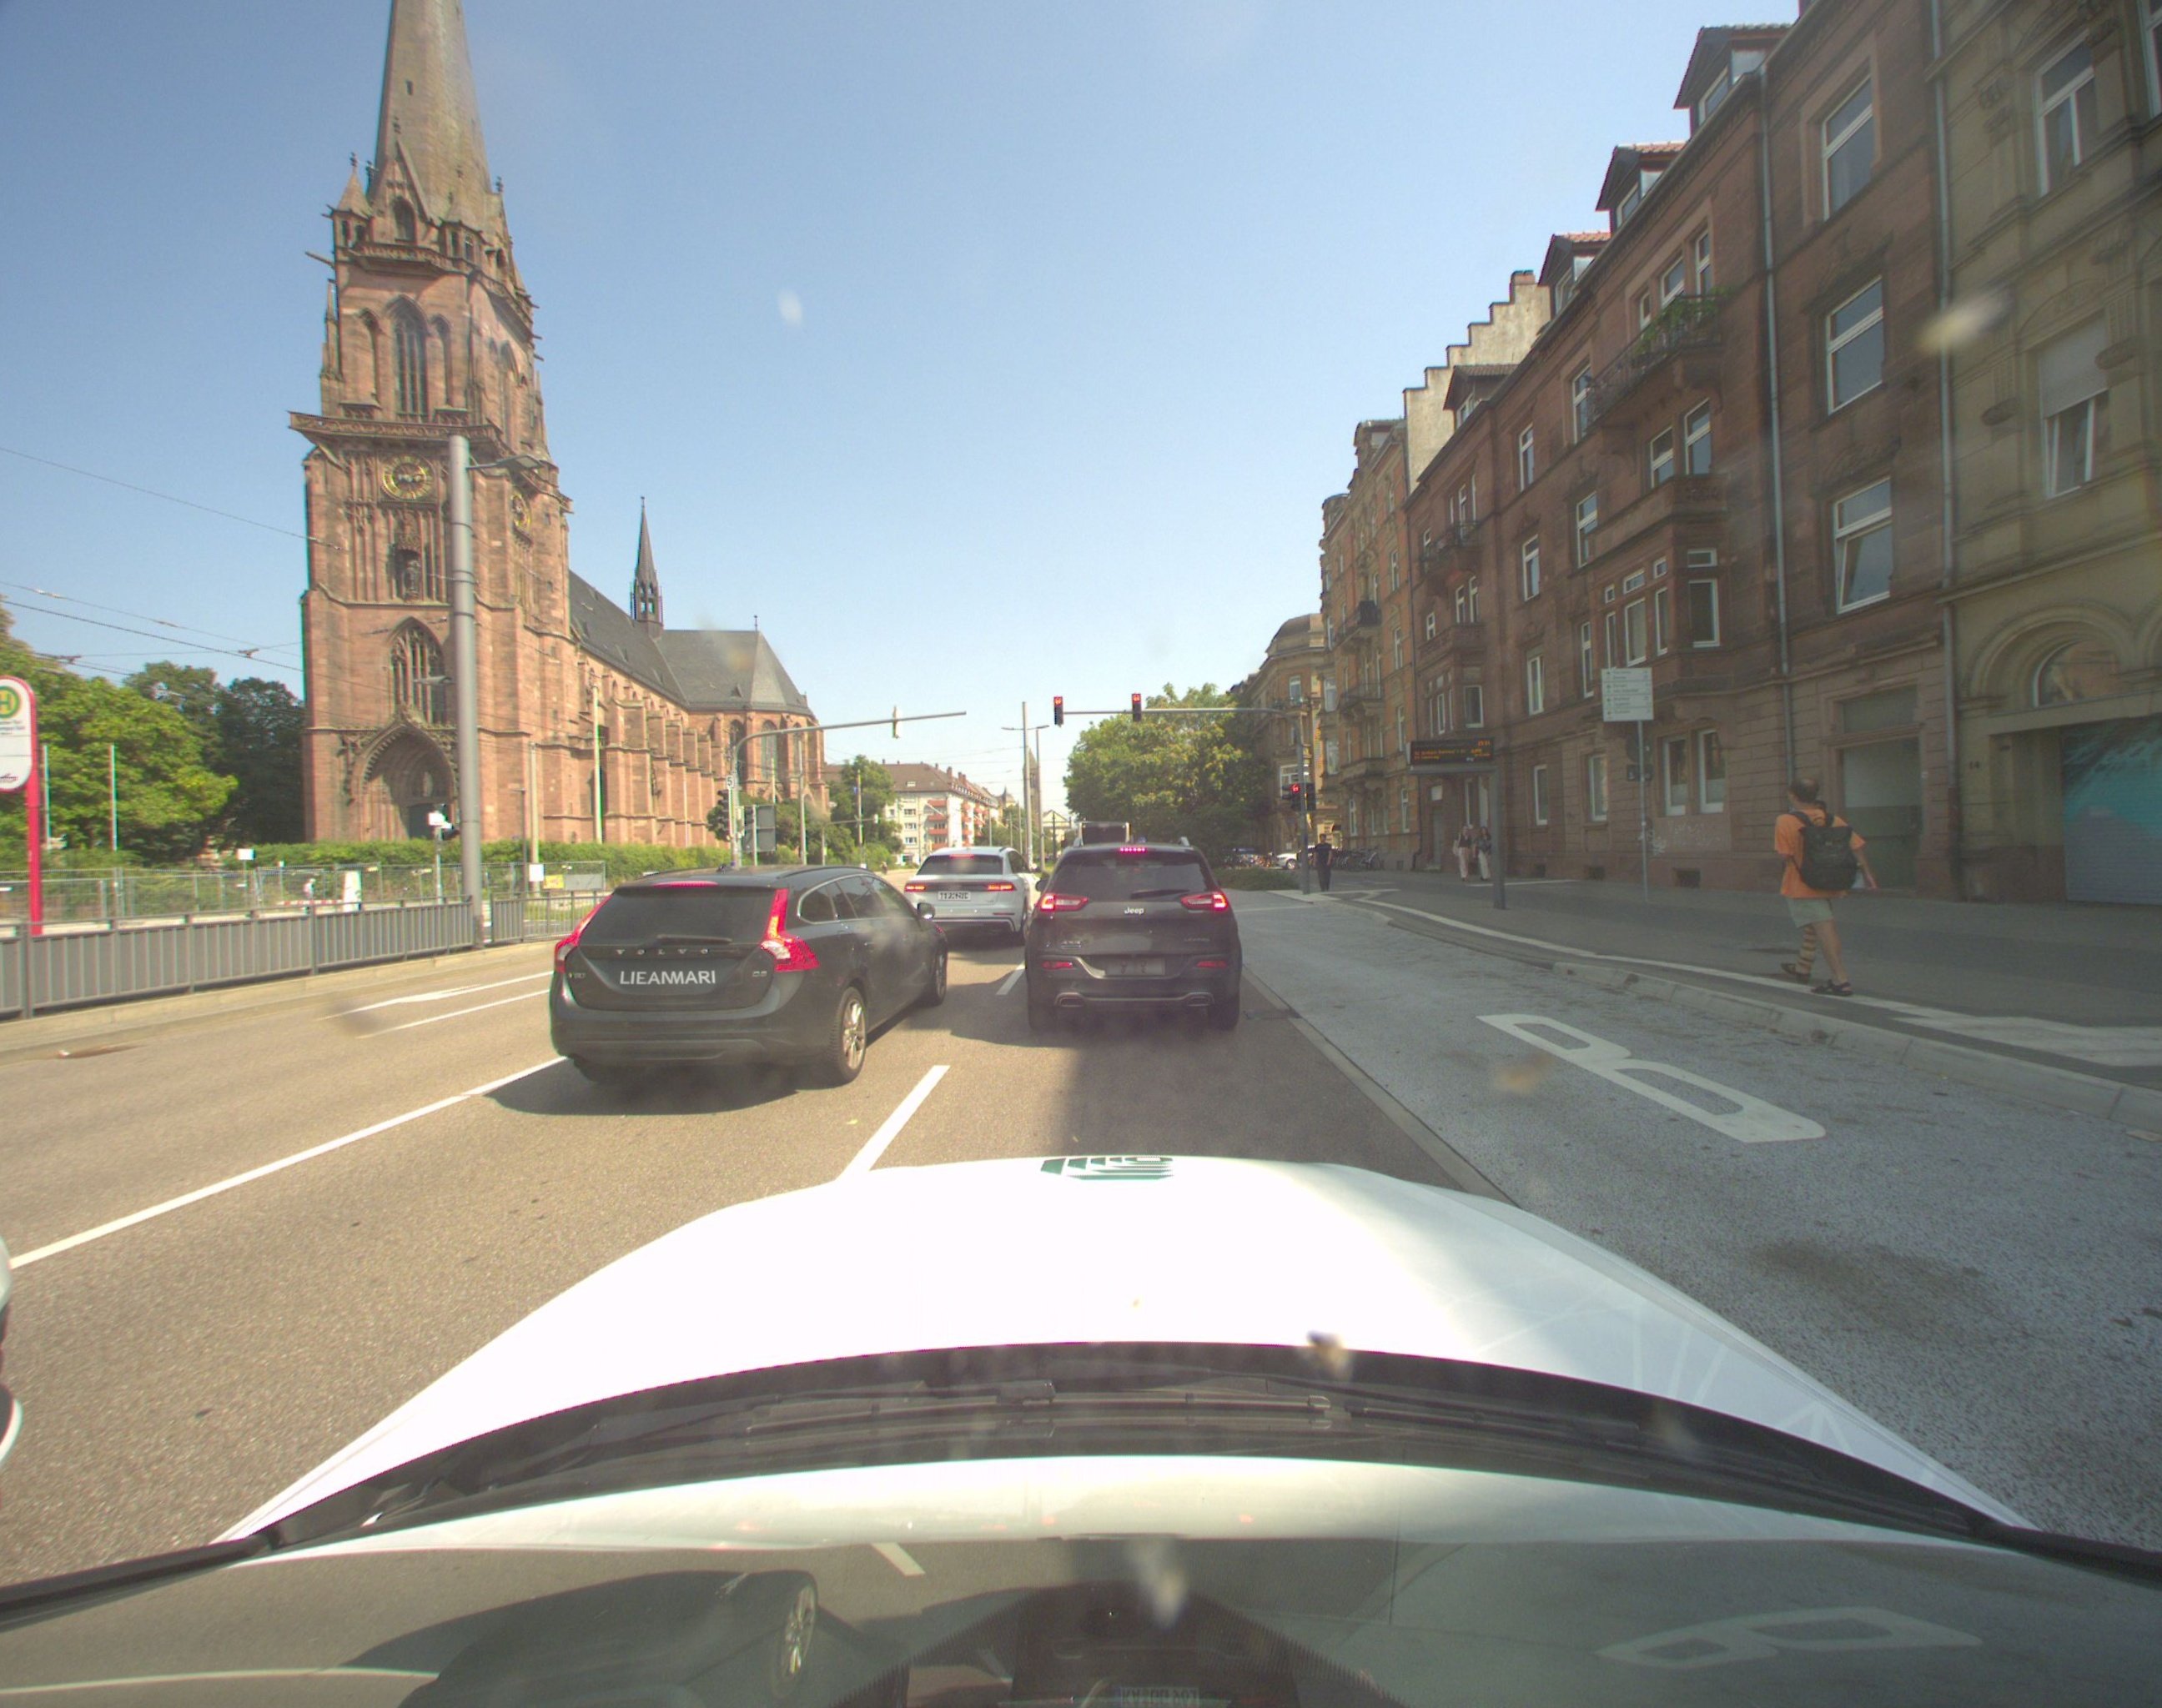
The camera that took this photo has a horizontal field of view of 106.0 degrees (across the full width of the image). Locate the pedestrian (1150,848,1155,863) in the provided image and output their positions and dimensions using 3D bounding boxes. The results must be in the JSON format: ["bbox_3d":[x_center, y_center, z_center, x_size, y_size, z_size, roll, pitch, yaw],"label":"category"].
[{"bbox_3d":[9.676,0.144,110.392,0.526,2.013,0.532,-2,0,0],"label":"pedestrian"}]

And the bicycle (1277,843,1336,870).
[{"bbox_3d":[12.726,0.150,46.029,2.993,1.373,0.948,-2,0,1],"label":"bicycle"}]

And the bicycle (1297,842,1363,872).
[{"bbox_3d":[12.685,0.166,41.563,2.993,1.373,0.947,-2,-1,1],"label":"bicycle"}]

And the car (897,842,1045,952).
[{"bbox_3d":[-1.793,0.652,14.692,1.895,1.651,4.310,-1,0,2],"label":"car"}]

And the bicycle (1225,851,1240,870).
[{"bbox_3d":[10.842,0.448,58.382,0.646,1.253,3.017,-2,0,4],"label":"bicycle"}]

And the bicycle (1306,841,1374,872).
[{"bbox_3d":[12.596,0.109,39.672,2.983,1.371,0.871,-2,0,1],"label":"bicycle"}]

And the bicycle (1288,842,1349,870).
[{"bbox_3d":[12.725,0.124,43.669,2.993,1.373,0.948,-2,0,1],"label":"bicycle"}]

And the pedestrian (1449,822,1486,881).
[{"bbox_3d":[12.035,-0.073,25.383,0.711,1.776,0.848,-2,0,1],"label":"pedestrian"}]

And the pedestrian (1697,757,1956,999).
[{"bbox_3d":[5.875,0.182,6.538,0.959,1.741,1.242,-2,0,7],"label":"pedestrian"}]

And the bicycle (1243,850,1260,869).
[{"bbox_3d":[12.195,0.392,58.323,0.729,1.253,3.017,-2,0,4],"label":"bicycle"}]

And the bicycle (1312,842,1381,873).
[{"bbox_3d":[12.608,0.161,38.758,2.983,1.371,0.871,-2,0,1],"label":"bicycle"}]

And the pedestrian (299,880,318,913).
[{"bbox_3d":[-36.845,2.021,38.819,0.430,1.531,0.548,-3,0,36],"label":"pedestrian"}]

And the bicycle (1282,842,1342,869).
[{"bbox_3d":[12.730,0.094,44.987,2.993,1.373,0.948,-2,0,1],"label":"bicycle"}]

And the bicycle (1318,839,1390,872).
[{"bbox_3d":[12.668,0.080,37.851,2.983,1.371,0.871,-2,0,1],"label":"bicycle"}]

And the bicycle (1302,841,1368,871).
[{"bbox_3d":[12.651,0.097,40.619,2.983,1.371,0.871,-2,0,1],"label":"bicycle"}]

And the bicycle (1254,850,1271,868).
[{"bbox_3d":[12.981,0.359,58.319,0.759,1.253,3.017,-2,0,4],"label":"bicycle"}]

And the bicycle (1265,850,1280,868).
[{"bbox_3d":[13.796,0.326,58.733,0.655,1.249,2.415,-2,0,4],"label":"bicycle"}]

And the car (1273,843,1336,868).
[{"bbox_3d":[15.688,0.101,57.271,3.926,1.521,1.679,-2,0,-6],"label":"car"}]

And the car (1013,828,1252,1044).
[{"bbox_3d":[0.512,0.632,8.448,1.825,1.651,4.312,-1,0,3],"label":"car"}]

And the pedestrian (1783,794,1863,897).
[{"bbox_3d":[13.267,-0.152,14.564,0.872,1.778,0.737,-2,0,-26],"label":"pedestrian"}]

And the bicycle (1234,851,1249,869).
[{"bbox_3d":[11.499,0.418,58.341,0.646,1.253,3.017,-2,0,4],"label":"bicycle"}]

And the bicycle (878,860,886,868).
[{"bbox_3d":[-23.176,1.123,94.939,0.452,0.859,1.477,-2,0,4],"label":"bicycle"}]

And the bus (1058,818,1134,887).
[{"bbox_3d":[0.574,-0.006,44.644,2.739,3.107,11.934,-5,0,-5],"label":"bus"}]

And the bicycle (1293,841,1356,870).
[{"bbox_3d":[12.730,0.089,42.658,2.993,1.373,0.948,-2,0,1],"label":"bicycle"}]

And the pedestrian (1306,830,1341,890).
[{"bbox_3d":[7.377,0.180,24.776,0.891,1.741,0.772,-4,-1,17],"label":"pedestrian"}]

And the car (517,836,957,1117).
[{"bbox_3d":[-2.332,0.710,6.890,1.741,1.614,4.310,-1,0,2],"label":"car"}]

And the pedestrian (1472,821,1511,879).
[{"bbox_3d":[12.772,-0.123,25.354,0.712,1.778,0.870,-2,0,0],"label":"pedestrian"}]
